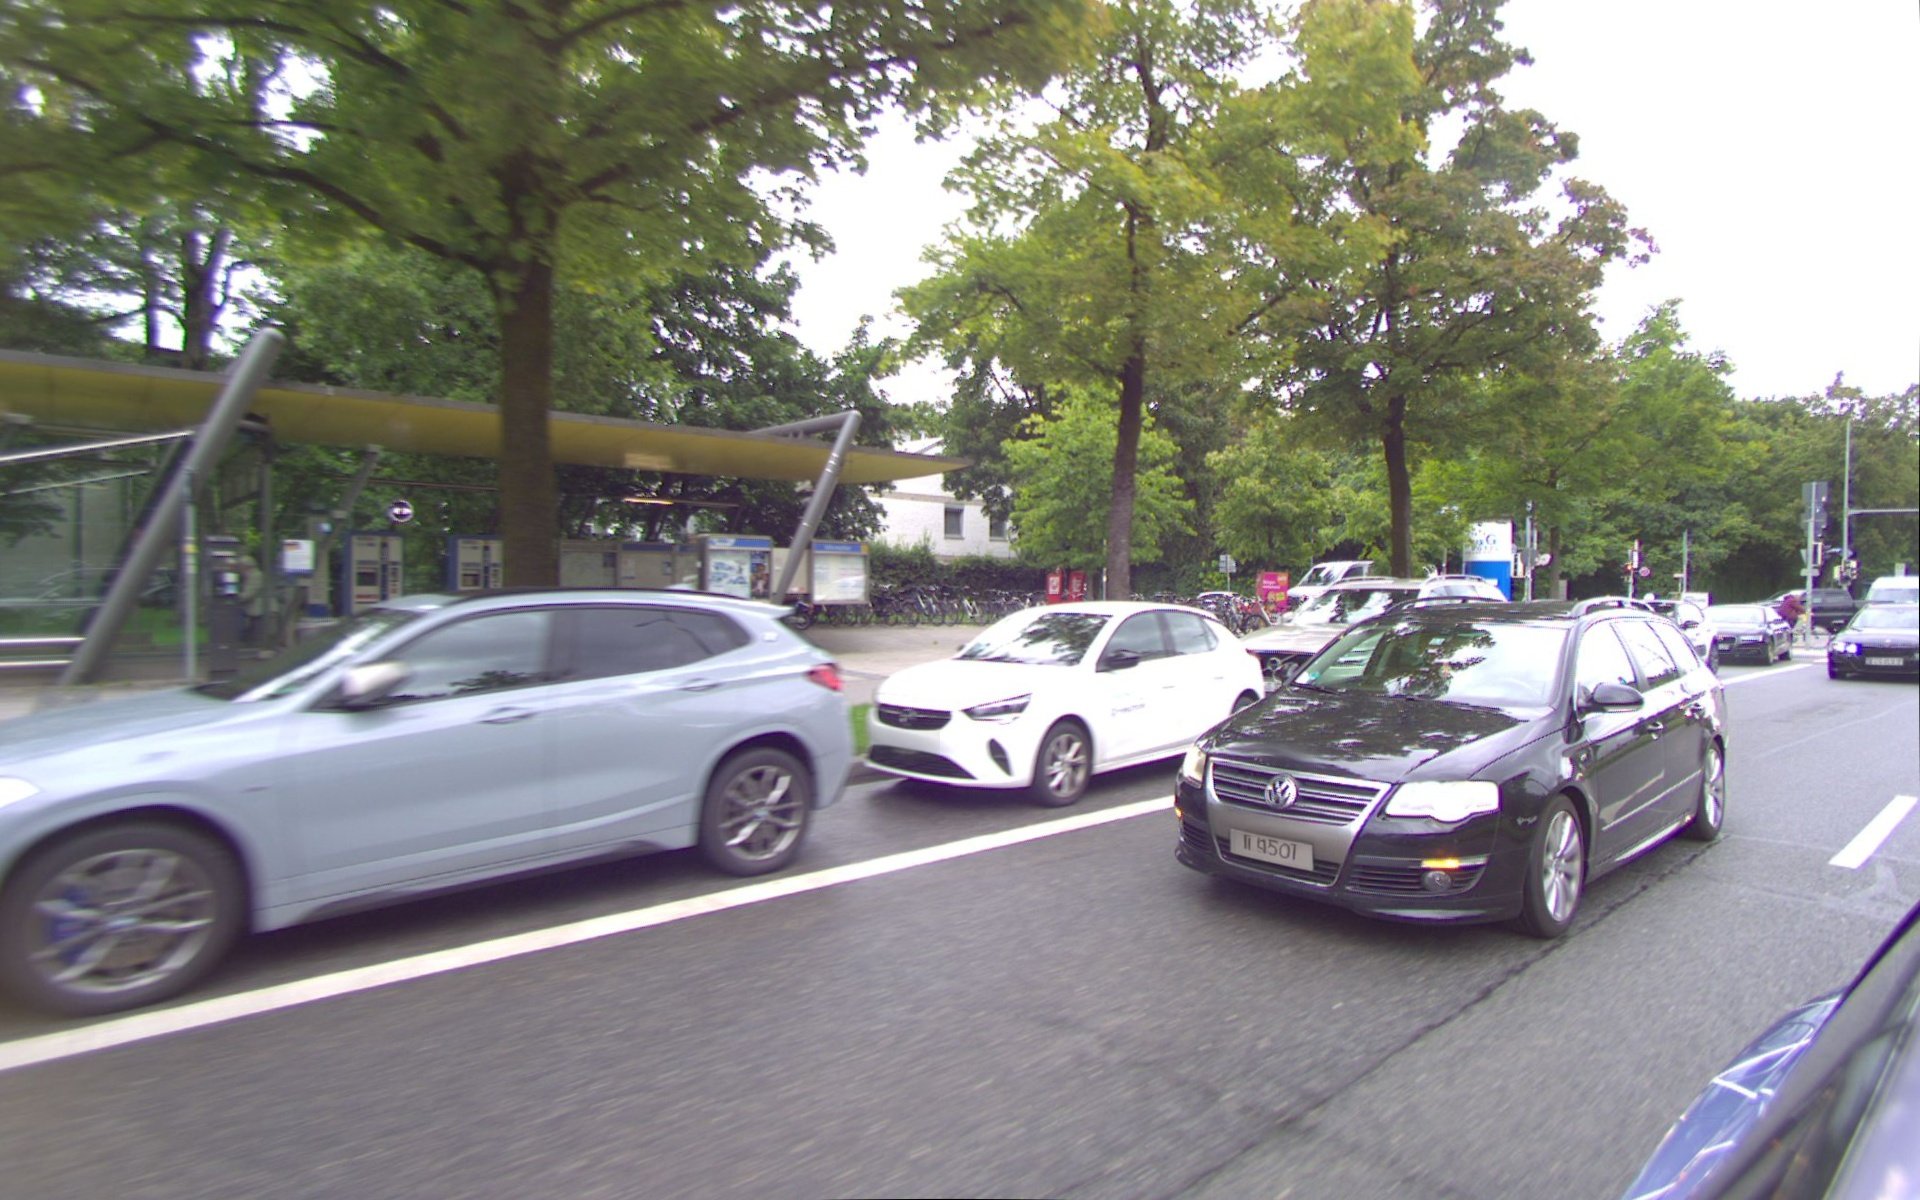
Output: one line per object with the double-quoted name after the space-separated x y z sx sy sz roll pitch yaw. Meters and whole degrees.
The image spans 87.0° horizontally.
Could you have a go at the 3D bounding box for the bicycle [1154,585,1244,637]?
6.195 0.258 26.337 0.574 1.171 2.343 1 3 -41 "bicycle"

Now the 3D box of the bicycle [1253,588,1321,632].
9.292 0.263 28.801 0.557 1.156 1.810 0 3 -40 "bicycle"

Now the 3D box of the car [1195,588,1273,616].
15.032 0.090 55.644 1.600 1.472 3.941 0 1 -43 "car"

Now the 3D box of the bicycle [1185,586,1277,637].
7.022 0.274 26.346 0.574 1.171 2.343 1 3 -41 "bicycle"

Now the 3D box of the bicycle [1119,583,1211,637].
5.060 0.218 25.116 0.574 1.171 2.343 1 3 -41 "bicycle"

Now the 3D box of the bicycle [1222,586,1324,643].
7.464 0.320 24.245 0.574 1.171 2.343 1 3 -41 "bicycle"

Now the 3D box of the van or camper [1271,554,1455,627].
13.780 -0.311 34.539 6.069 2.325 2.153 0 1 -23 "van or camper"

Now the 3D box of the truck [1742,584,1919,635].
36.903 0.383 42.920 5.704 2.039 2.105 1 1 2 "truck"

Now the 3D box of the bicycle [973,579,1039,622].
1.394 0.008 31.231 0.520 1.171 2.343 1 3 -40 "bicycle"

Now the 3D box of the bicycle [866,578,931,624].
-1.791 0.021 29.076 0.520 1.171 2.343 1 3 -40 "bicycle"

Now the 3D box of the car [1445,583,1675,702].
9.334 0.565 15.569 4.561 1.567 1.750 0 0 -42 "car"

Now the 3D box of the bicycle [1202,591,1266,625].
9.855 0.288 36.406 2.088 1.168 0.718 1 1 0 "bicycle"

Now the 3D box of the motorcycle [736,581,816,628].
-4.315 0.106 23.847 1.778 1.075 0.659 1 1 -2 "motorcycle"

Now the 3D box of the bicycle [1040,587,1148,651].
2.801 0.364 21.432 2.337 1.171 0.521 5 3 41 "bicycle"

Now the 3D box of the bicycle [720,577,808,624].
-5.189 0.009 26.924 2.303 1.171 0.529 0 3 -38 "bicycle"

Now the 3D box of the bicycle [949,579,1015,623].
0.630 0.011 30.526 0.520 1.171 2.343 1 3 -40 "bicycle"

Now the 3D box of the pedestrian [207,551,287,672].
-9.355 0.142 13.287 0.575 1.532 0.687 1 0 31 "pedestrian"

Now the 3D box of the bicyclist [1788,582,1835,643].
25.721 0.362 30.592 0.815 1.786 0.743 1 1 14 "bicyclist"

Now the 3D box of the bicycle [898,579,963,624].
-0.890 0.017 29.537 0.520 1.171 2.343 1 3 -40 "bicycle"

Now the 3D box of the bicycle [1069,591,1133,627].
4.762 0.305 34.306 2.092 1.168 0.717 1 1 7 "bicycle"

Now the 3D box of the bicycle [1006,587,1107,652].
1.973 0.367 21.022 0.520 1.171 2.343 1 3 -40 "bicycle"

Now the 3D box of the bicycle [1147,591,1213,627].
7.453 0.298 34.422 2.090 1.168 0.718 1 1 4 "bicycle"

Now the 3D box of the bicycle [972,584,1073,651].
1.216 0.326 20.363 0.520 1.171 2.343 1 3 -40 "bicycle"

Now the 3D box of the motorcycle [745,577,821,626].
-4.340 0.036 24.761 1.775 1.192 0.660 1 1 -15 "motorcycle"

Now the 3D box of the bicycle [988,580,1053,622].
1.879 0.006 31.758 0.520 1.171 2.343 1 3 -40 "bicycle"

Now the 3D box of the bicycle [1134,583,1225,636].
5.506 0.216 25.516 0.574 1.171 2.343 1 3 -41 "bicycle"

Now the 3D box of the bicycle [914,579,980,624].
-0.410 0.015 29.872 0.520 1.171 2.343 1 3 -40 "bicycle"

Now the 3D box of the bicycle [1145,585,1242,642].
5.448 0.298 23.776 0.520 1.171 2.343 1 3 -40 "bicycle"

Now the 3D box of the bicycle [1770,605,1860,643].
25.794 0.715 30.570 1.919 1.094 0.745 1 1 14 "bicycle"

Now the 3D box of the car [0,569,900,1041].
-2.528 0.653 5.036 4.323 1.554 1.723 0 1 -41 "car"

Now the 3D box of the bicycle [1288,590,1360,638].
9.745 0.355 27.151 0.556 1.156 1.813 0 2 -35 "bicycle"

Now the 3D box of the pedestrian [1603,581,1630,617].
28.430 -0.037 43.840 0.722 1.558 0.694 0 1 -21 "pedestrian"

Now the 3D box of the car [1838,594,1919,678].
18.539 0.631 19.485 4.589 1.447 1.818 0 2 -41 "car"

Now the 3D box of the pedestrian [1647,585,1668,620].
34.869 0.116 50.568 0.758 1.724 0.926 1 1 40 "pedestrian"

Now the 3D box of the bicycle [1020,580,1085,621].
2.933 0.001 32.454 0.520 1.171 2.343 1 3 -40 "bicycle"

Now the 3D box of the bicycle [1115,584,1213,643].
4.620 0.286 23.079 0.520 1.171 2.343 1 3 -40 "bicycle"

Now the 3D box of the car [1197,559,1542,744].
4.946 0.489 11.835 4.820 1.746 1.750 0 0 -41 "car"

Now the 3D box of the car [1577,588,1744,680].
13.557 0.564 19.483 4.307 1.567 1.715 0 1 -42 "car"

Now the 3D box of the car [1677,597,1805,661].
18.687 0.624 24.125 4.543 1.377 1.712 0 0 -43 "car"

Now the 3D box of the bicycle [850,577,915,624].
-2.225 0.004 28.622 0.520 1.171 2.343 1 3 -40 "bicycle"

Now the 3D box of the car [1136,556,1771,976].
3.119 0.570 5.808 4.592 1.493 1.749 0 0 -43 "car"

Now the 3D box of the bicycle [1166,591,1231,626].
8.363 0.294 35.584 2.088 1.168 0.718 1 1 0 "bicycle"

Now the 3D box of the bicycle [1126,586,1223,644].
4.949 0.315 23.528 0.520 1.171 2.343 1 3 -40 "bicycle"

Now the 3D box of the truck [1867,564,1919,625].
43.763 -0.269 46.023 7.087 2.636 2.000 -1 0 -34 "truck"

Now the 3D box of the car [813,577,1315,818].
1.088 0.616 8.558 4.427 1.527 1.704 0 -1 -42 "car"

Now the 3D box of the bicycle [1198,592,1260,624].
9.875 0.287 37.212 2.088 1.168 0.718 1 1 0 "bicycle"
